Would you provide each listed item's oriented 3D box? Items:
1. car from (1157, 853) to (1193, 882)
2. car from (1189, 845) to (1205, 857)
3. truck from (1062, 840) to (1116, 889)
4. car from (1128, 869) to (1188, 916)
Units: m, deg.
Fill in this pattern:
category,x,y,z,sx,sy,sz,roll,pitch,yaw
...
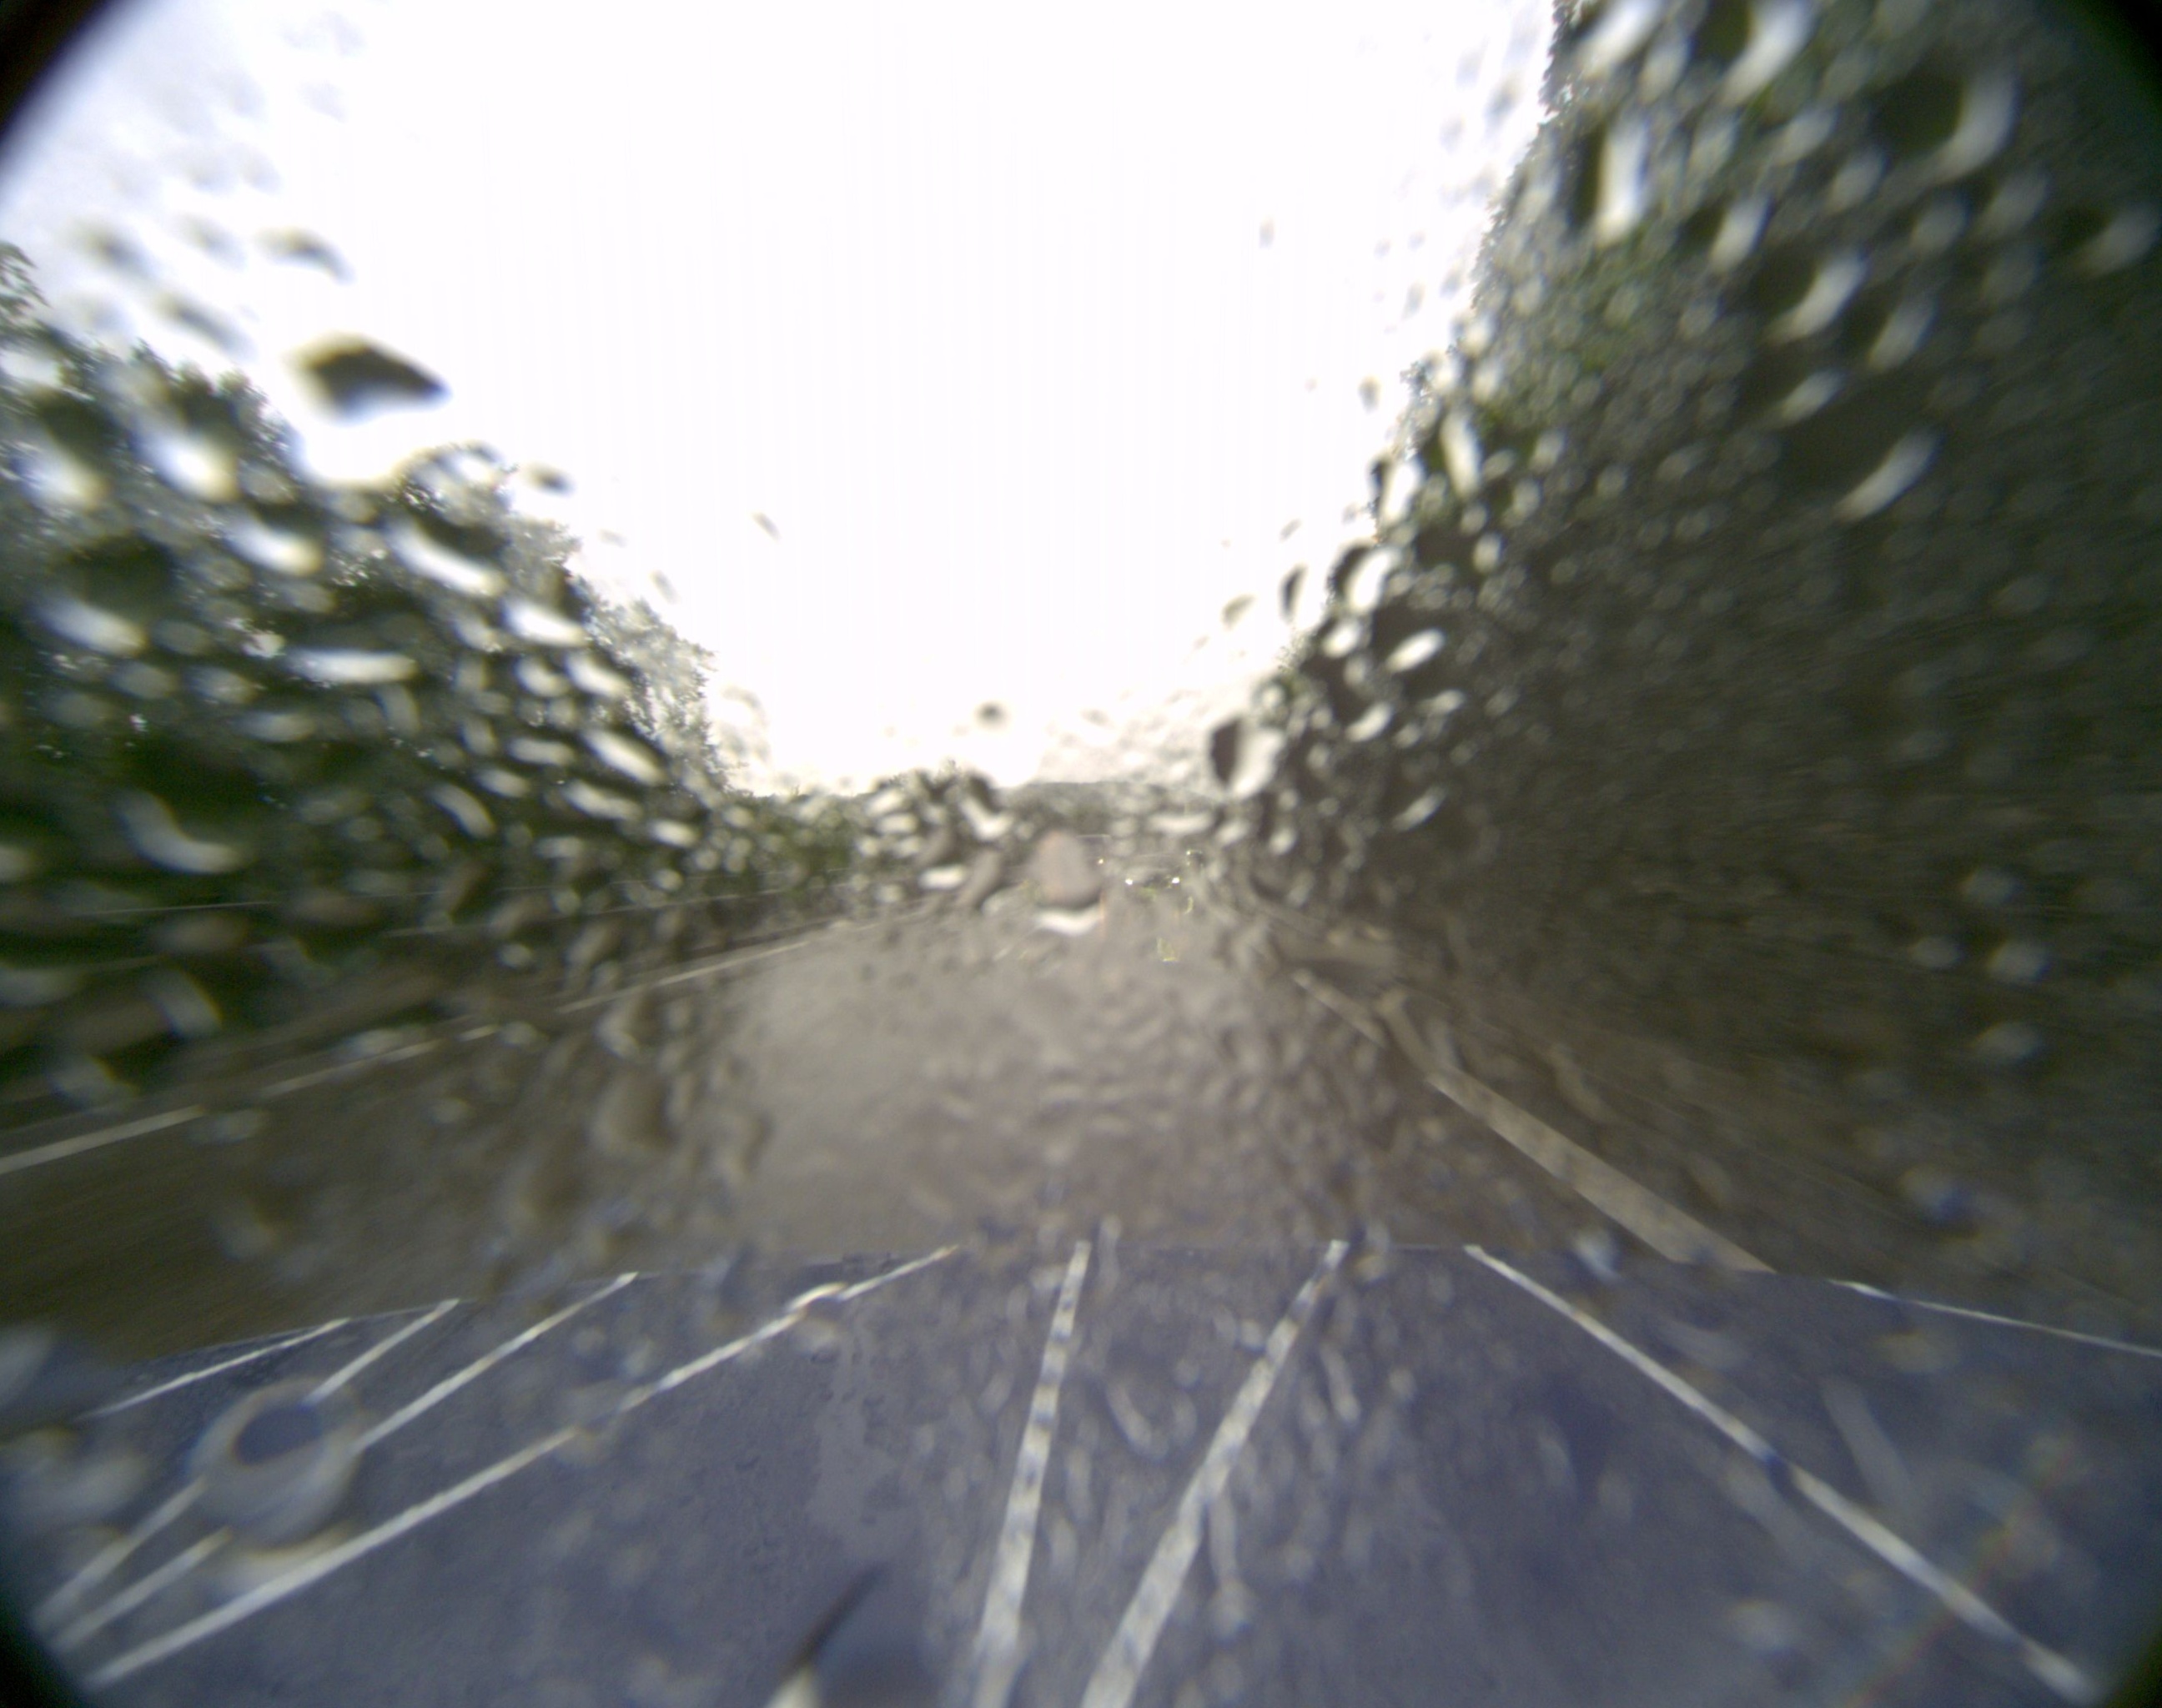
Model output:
category,x,y,z,sx,sy,sz,roll,pitch,yaw
car,5.244,0.709,42.308,1.826,1.375,4.002,-4,0,8
car,15.065,-0.445,98.625,1.826,1.375,4.003,-4,0,10
truck,0.605,0.518,43.604,2.107,2.481,8.007,-1,0,8
car,2.596,1.221,25.519,1.826,1.375,4.002,-1,-1,6
